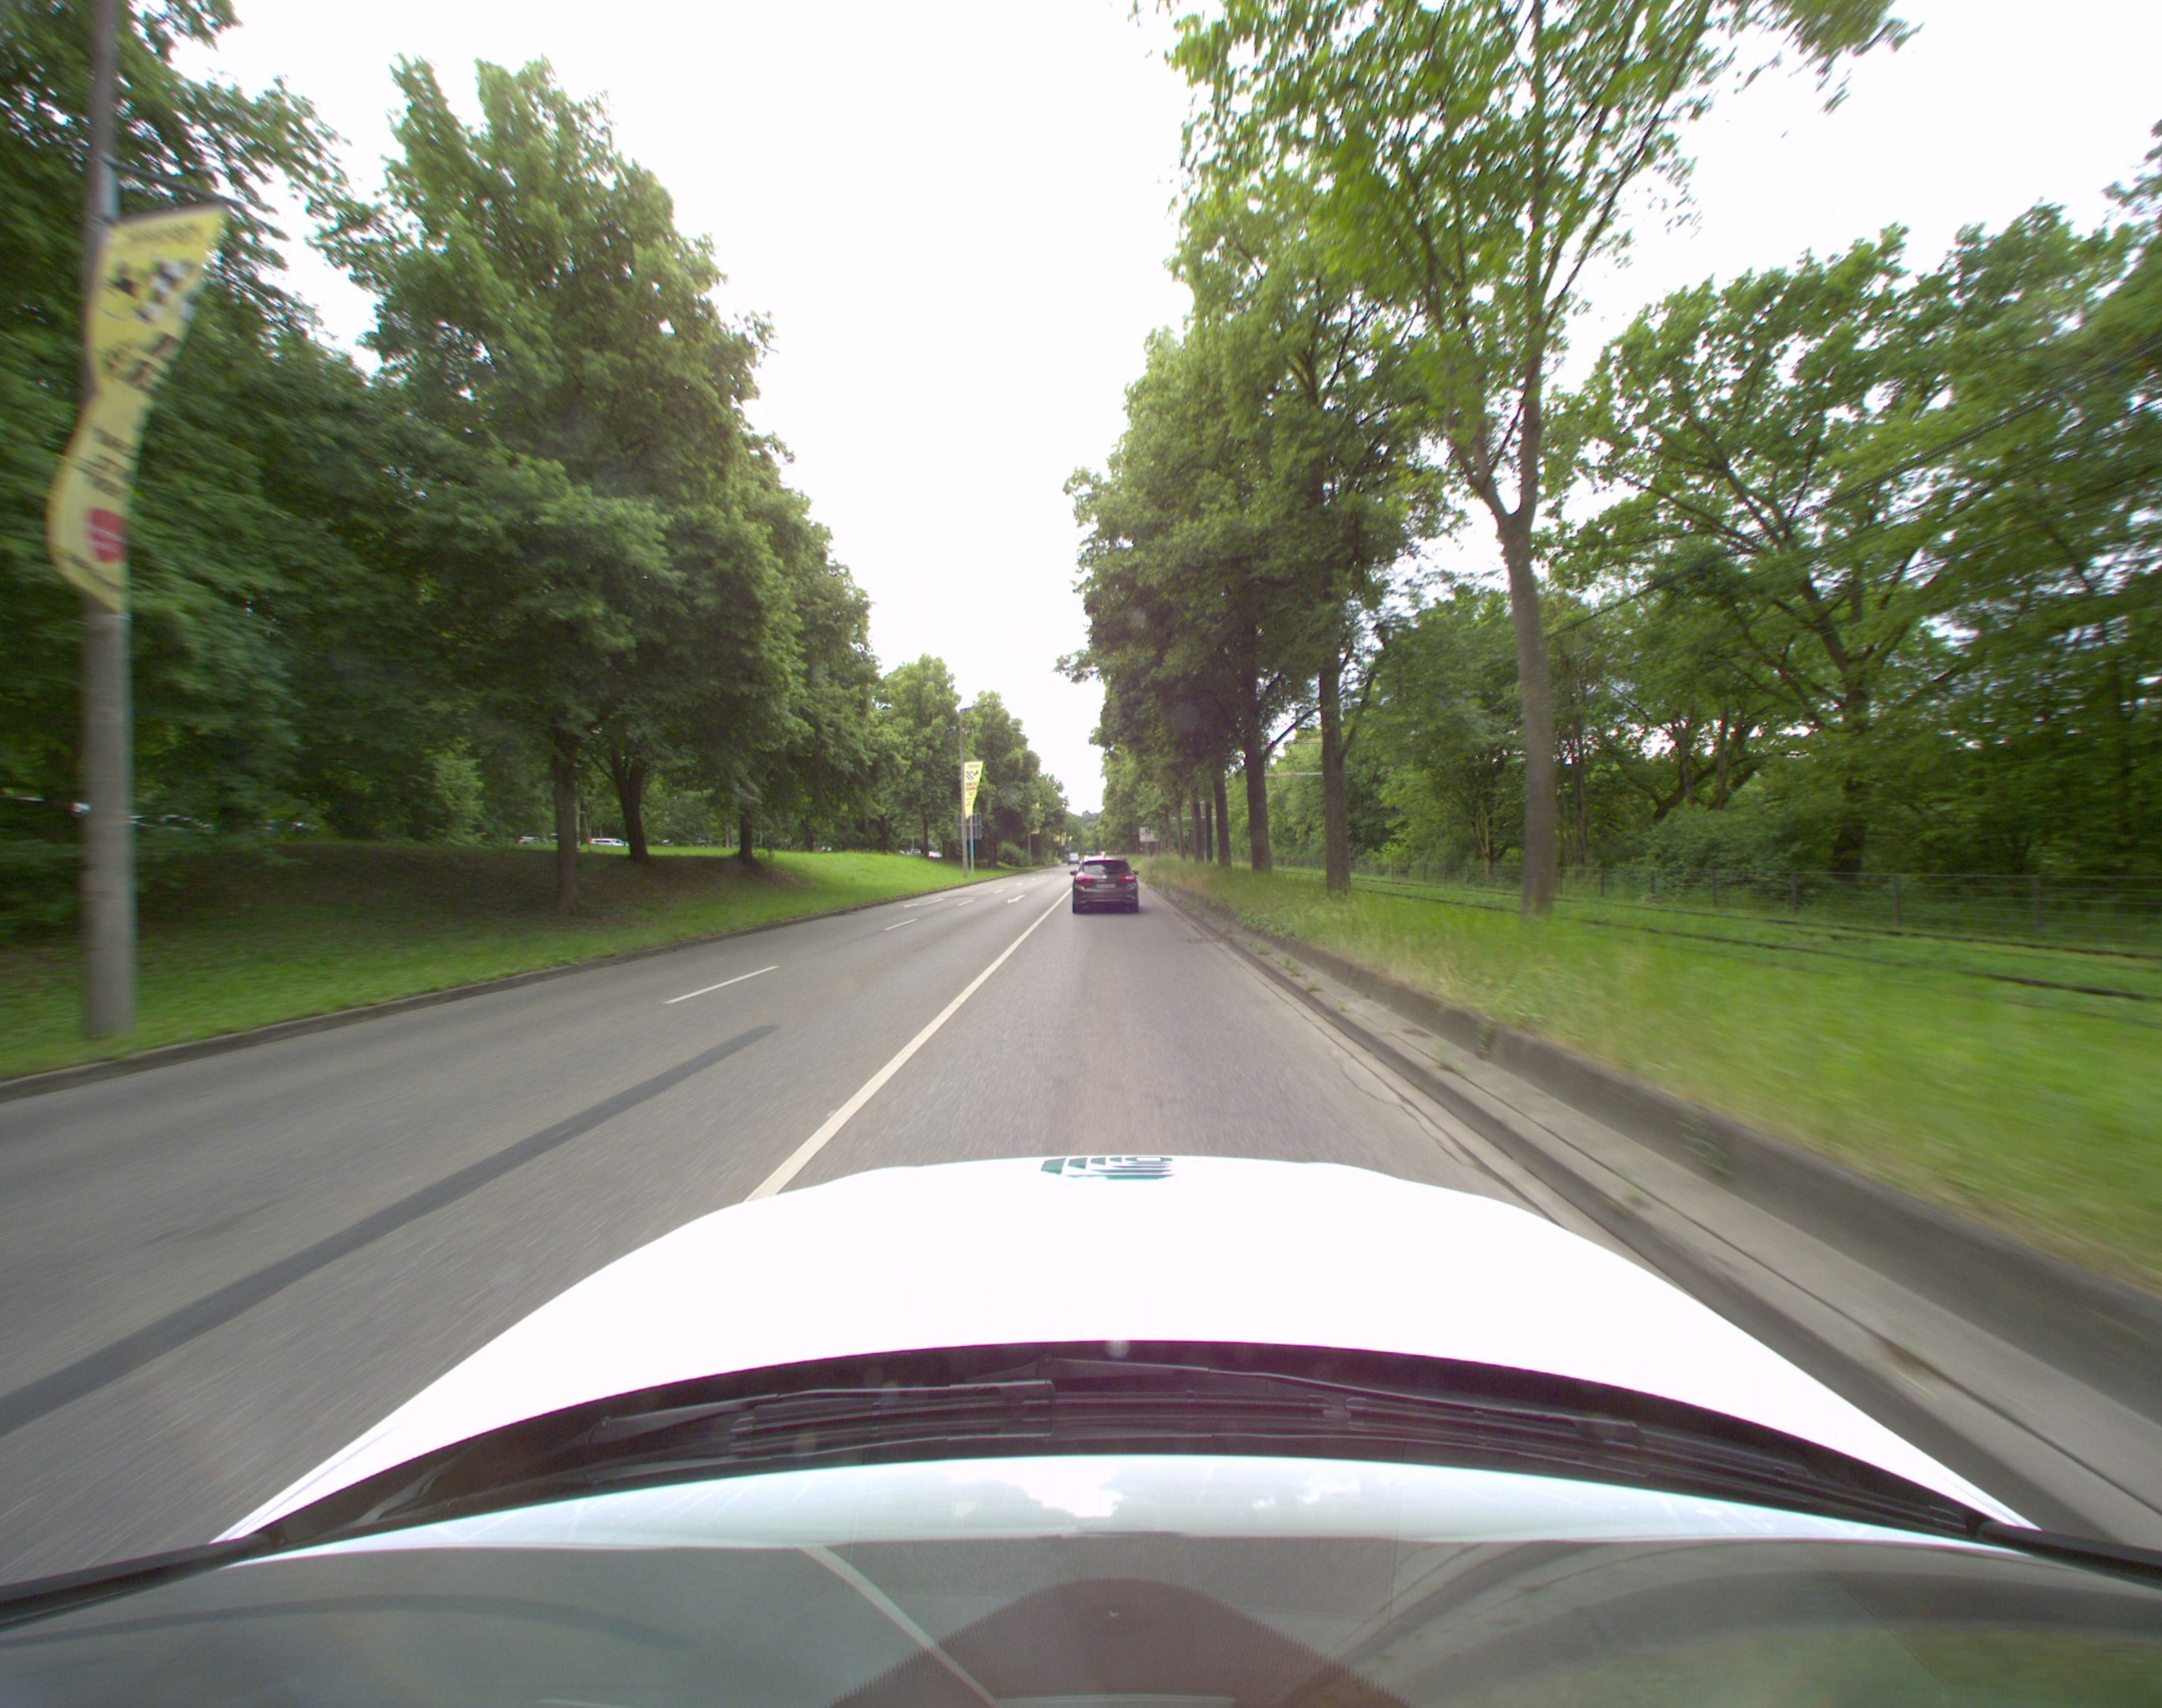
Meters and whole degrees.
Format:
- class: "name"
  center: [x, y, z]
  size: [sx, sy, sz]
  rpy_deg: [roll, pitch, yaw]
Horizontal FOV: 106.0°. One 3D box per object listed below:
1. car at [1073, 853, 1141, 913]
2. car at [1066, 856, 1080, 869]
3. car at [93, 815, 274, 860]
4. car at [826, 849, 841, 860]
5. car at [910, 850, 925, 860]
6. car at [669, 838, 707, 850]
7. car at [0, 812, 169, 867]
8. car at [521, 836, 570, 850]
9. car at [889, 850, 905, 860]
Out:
- class: "car"
  center: [0.703, 0.749, 22.673]
  size: [1.724, 1.537, 3.552]
  rpy_deg: [0, 0, 1]
- class: "car"
  center: [-1.290, 1.366, 131.525]
  size: [1.986, 1.955, 5.186]
  rpy_deg: [-2, -1, 2]
- class: "car"
  center: [-40.167, -0.691, 36.666]
  size: [4.913, 1.895, 2.301]
  rpy_deg: [0, -1, -26]
- class: "car"
  center: [-33.987, 0.085, 111.704]
  size: [1.652, 1.486, 3.970]
  rpy_deg: [0, 0, -22]
- class: "car"
  center: [-24.724, 0.194, 123.071]
  size: [1.652, 1.486, 3.970]
  rpy_deg: [0, 0, -22]
- class: "car"
  center: [-40.836, -0.982, 84.581]
  size: [3.516, 1.210, 1.387]
  rpy_deg: [0, -1, -27]
- class: "car"
  center: [-36.597, -0.481, 29.112]
  size: [4.913, 1.895, 1.983]
  rpy_deg: [0, -1, -26]
- class: "car"
  center: [-48.487, -1.018, 73.780]
  size: [3.516, 1.233, 1.387]
  rpy_deg: [0, -1, -27]
- class: "car"
  center: [-27.674, 0.118, 122.440]
  size: [1.652, 1.486, 3.970]
  rpy_deg: [0, 0, -22]
